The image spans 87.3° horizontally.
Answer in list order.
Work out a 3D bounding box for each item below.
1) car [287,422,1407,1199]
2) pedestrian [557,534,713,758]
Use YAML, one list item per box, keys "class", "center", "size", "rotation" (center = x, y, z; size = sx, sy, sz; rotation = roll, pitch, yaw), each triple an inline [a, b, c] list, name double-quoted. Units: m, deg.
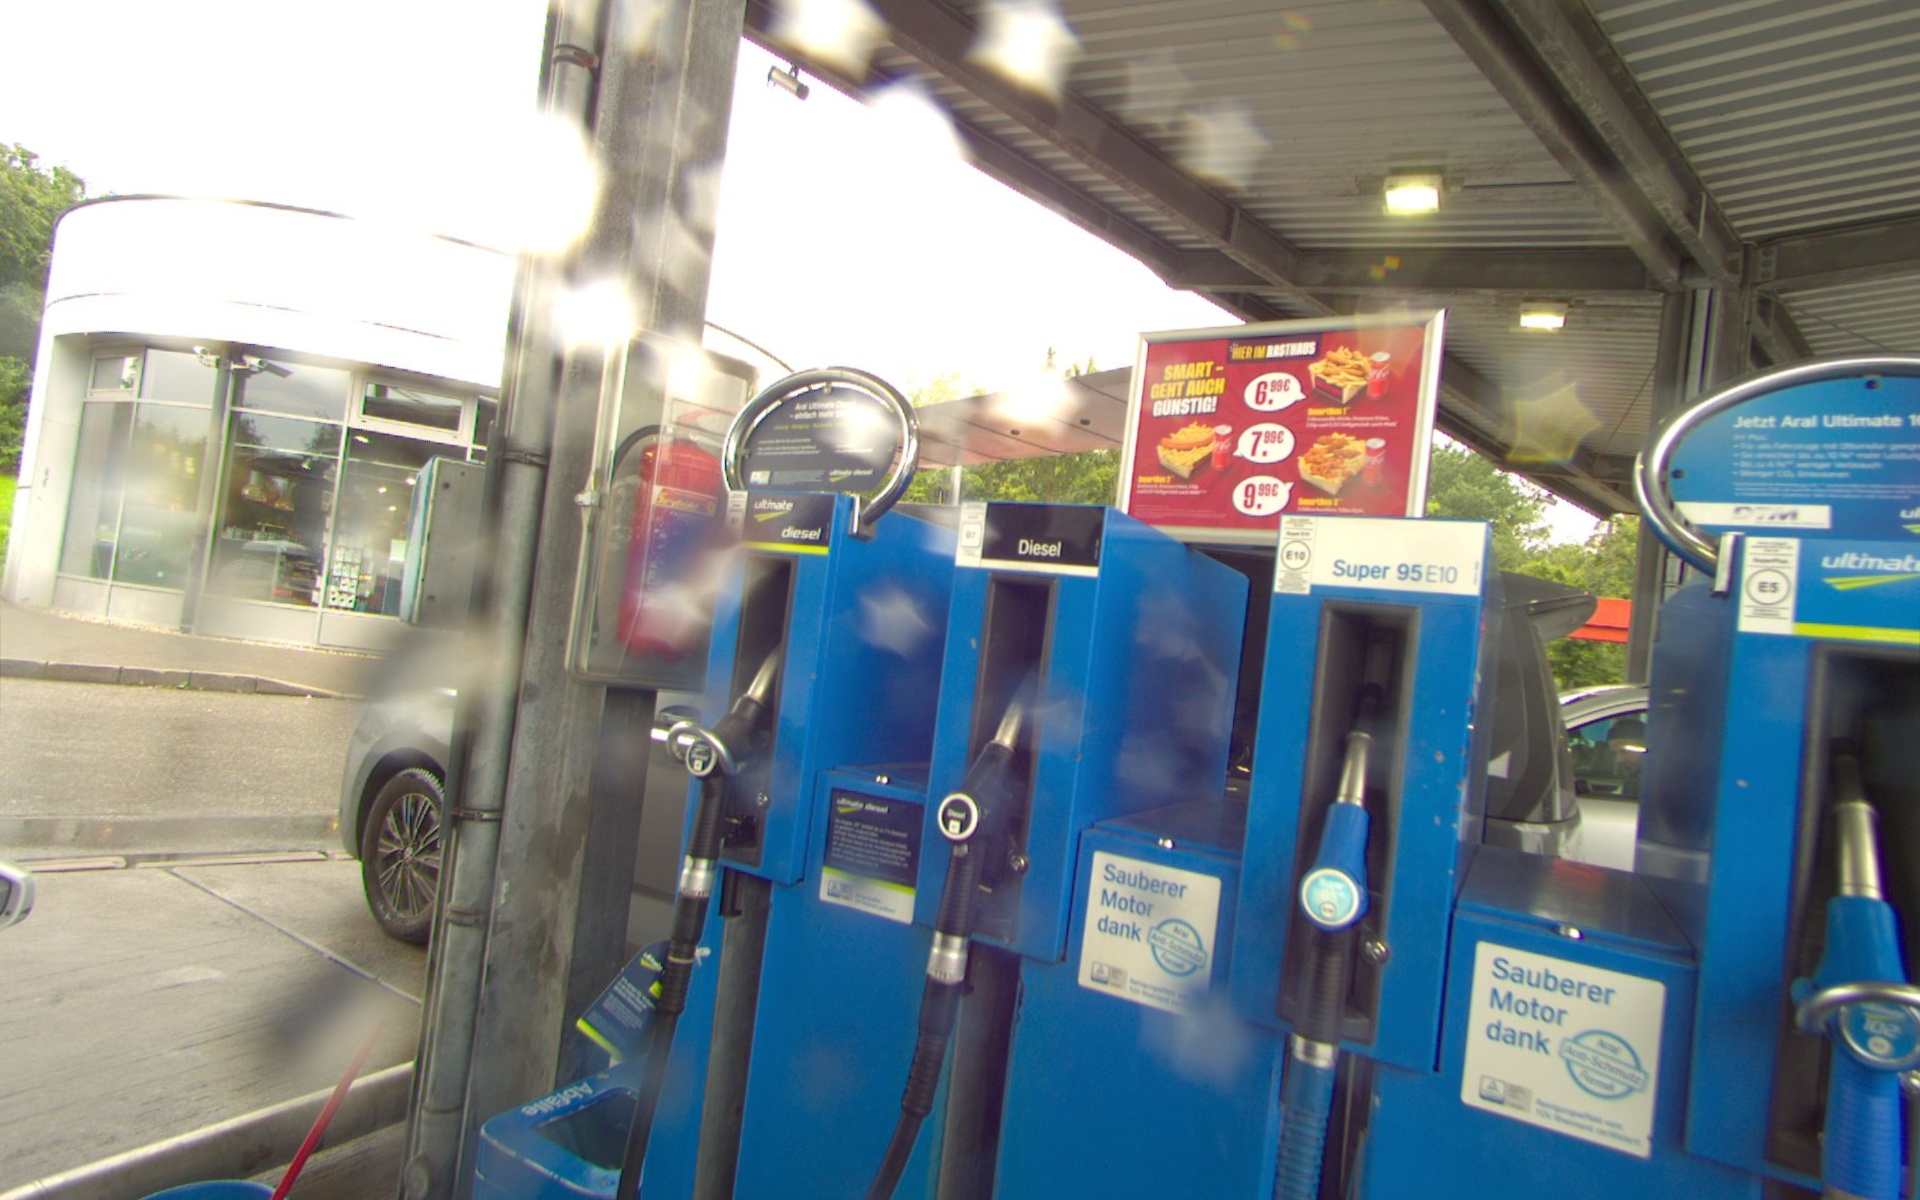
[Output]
- class: "car"
  center: [-0.591, 0.513, 3.985]
  size: [3.934, 1.971, 1.819]
  rotation: [7, -1, 32]
- class: "pedestrian"
  center: [-3.036, 0.422, 9.400]
  size: [0.991, 1.917, 0.716]
  rotation: [7, 0, 34]
